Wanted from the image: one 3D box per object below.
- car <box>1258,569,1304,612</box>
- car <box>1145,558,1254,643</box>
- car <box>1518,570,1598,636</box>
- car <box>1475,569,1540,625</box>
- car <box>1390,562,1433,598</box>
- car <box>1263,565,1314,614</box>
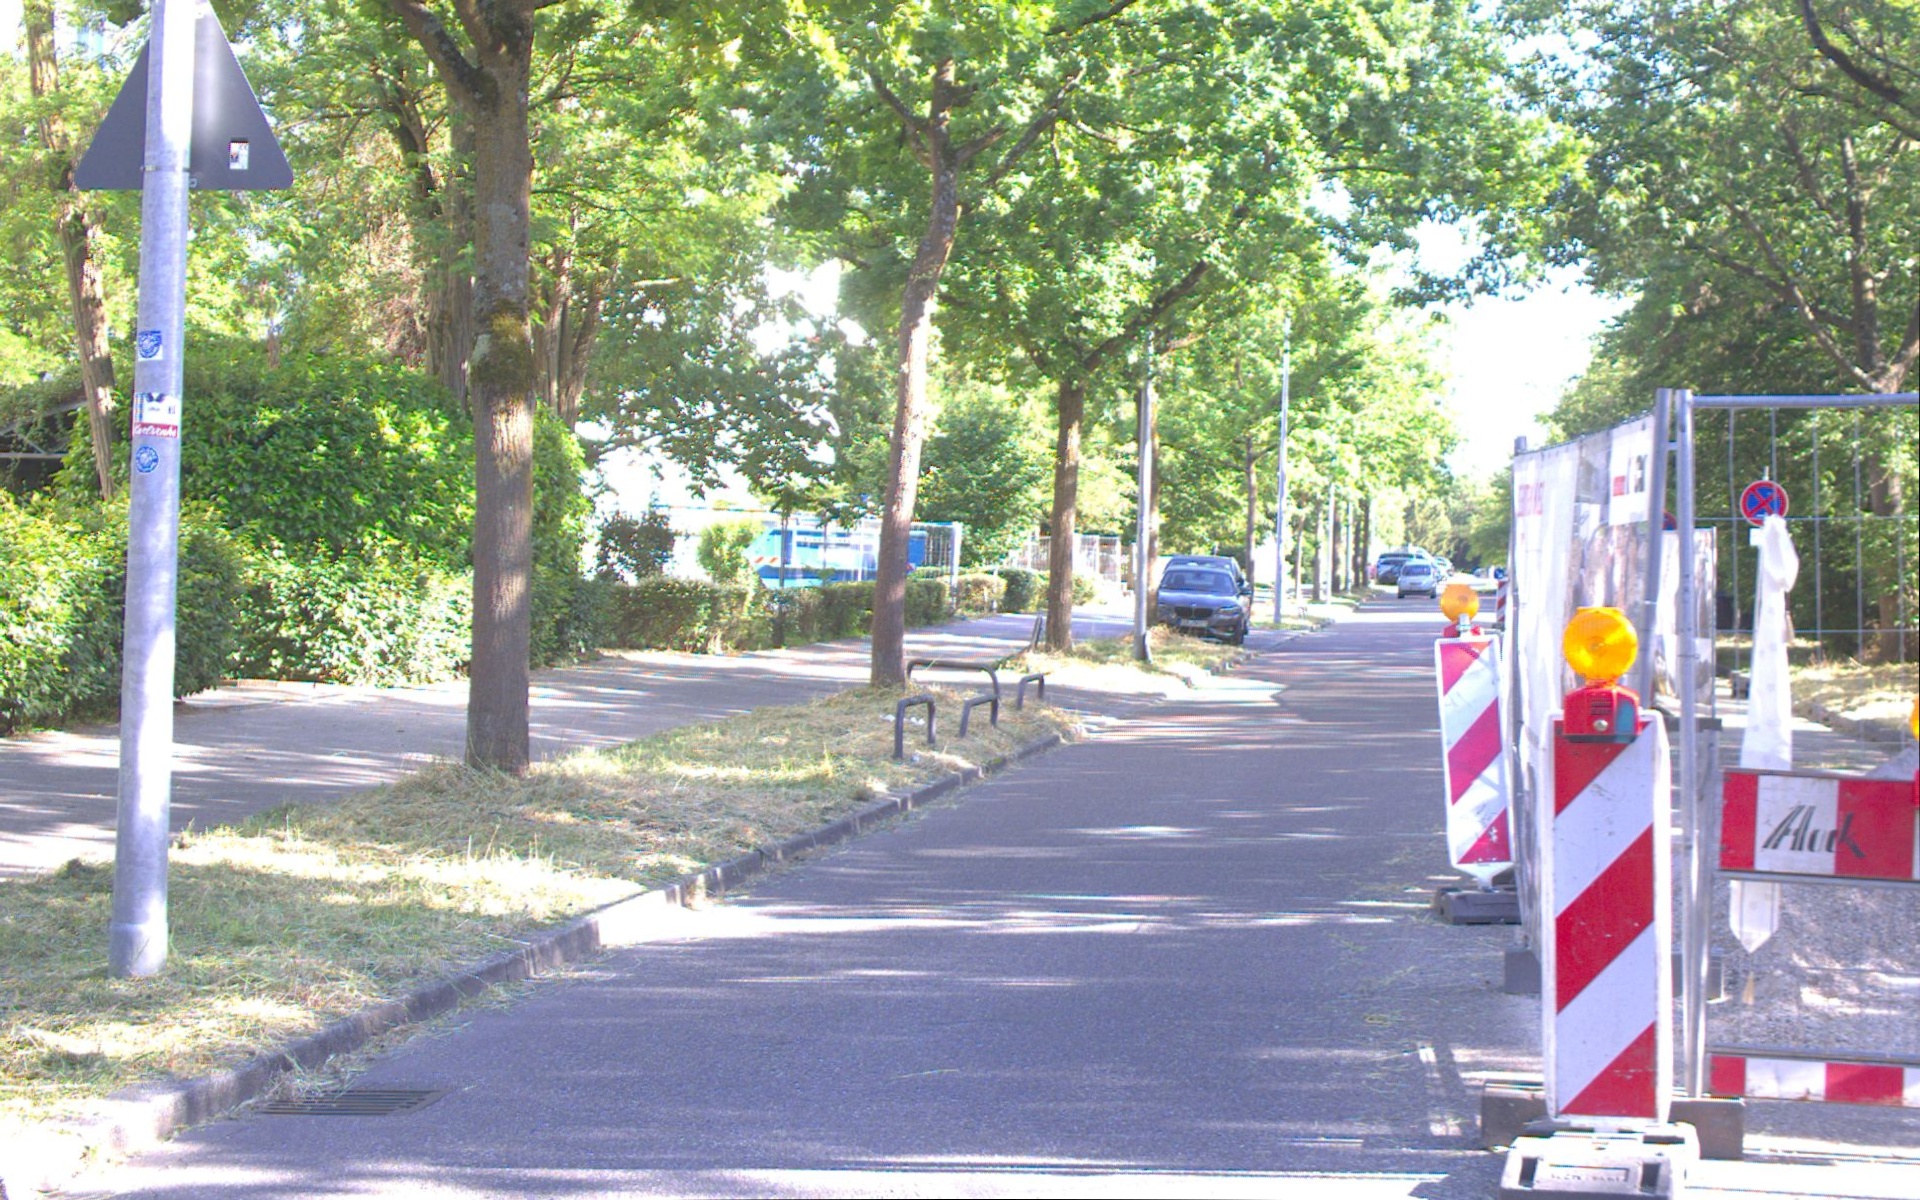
[{"bbox_3d":[10.278,-0.285,110.009,1.362,1.298,3.480,3,0,6],"label":"car"},{"bbox_3d":[4.438,-0.019,63.382,1.751,1.473,3.835,2,1,7],"label":"car"},{"bbox_3d":[12.504,0.065,71.999,1.362,1.298,3.480,3,0,6],"label":"car"},{"bbox_3d":[13.511,-0.069,84.959,1.362,1.298,3.480,3,0,6],"label":"car"},{"bbox_3d":[20.608,-0.907,156.990,1.711,1.579,3.999,3,0,5],"label":"car"},{"bbox_3d":[9.398,-0.289,98.282,1.362,1.298,3.480,3,0,6],"label":"car"}]
